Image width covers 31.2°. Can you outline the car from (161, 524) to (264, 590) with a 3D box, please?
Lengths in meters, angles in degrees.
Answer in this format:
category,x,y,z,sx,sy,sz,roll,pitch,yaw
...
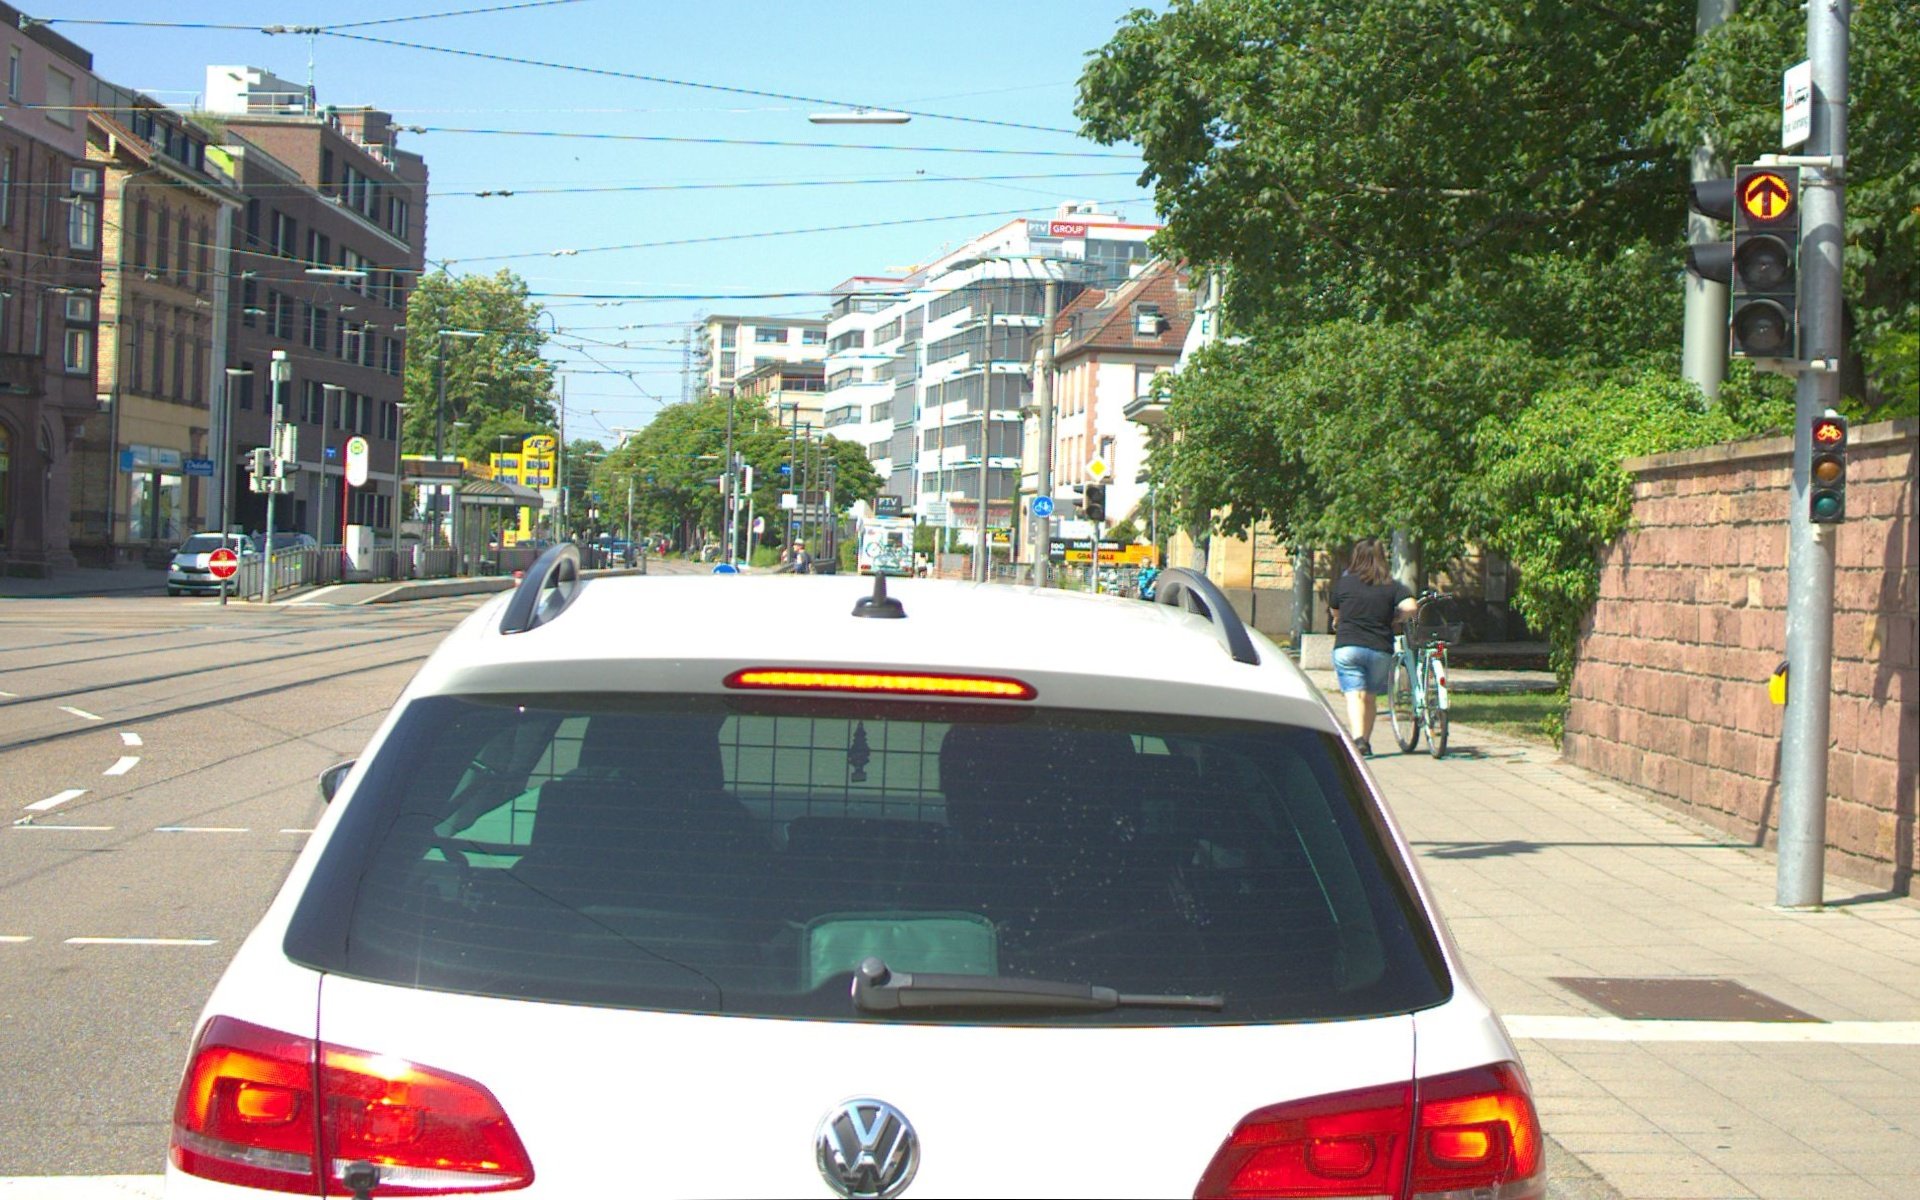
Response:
category,x,y,z,sx,sy,sz,roll,pitch,yaw
car,-17.413,-1.002,80.267,1.625,1.426,3.963,3,1,-2

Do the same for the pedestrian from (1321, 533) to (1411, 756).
category,x,y,z,sx,sy,sz,roll,pitch,yaw
pedestrian,2.851,0.304,24.189,0.540,1.543,0.663,0,1,-1

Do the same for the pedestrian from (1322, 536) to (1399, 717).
category,x,y,z,sx,sy,sz,roll,pitch,yaw
pedestrian,3.804,0.246,32.703,0.650,1.676,0.707,2,1,6

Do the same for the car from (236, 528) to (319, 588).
category,x,y,z,sx,sy,sz,roll,pitch,yaw
car,-17.467,-1.084,88.121,1.572,1.454,3.815,2,1,-4

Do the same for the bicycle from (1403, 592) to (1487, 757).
category,x,y,z,sx,sy,sz,roll,pitch,yaw
bicycle,3.432,0.502,24.269,0.536,1.107,1.806,1,0,9

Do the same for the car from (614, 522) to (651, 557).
category,x,y,z,sx,sy,sz,roll,pitch,yaw
car,-19.507,-3.587,204.863,1.993,2.007,4.000,1,1,-2

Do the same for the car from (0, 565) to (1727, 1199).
category,x,y,z,sx,sy,sz,roll,pitch,yaw
car,-0.148,0.694,5.388,1.752,1.413,3.853,2,1,-1

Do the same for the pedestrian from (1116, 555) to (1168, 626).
category,x,y,z,sx,sy,sz,roll,pitch,yaw
pedestrian,3.960,-0.209,74.845,0.857,1.505,0.780,2,1,26

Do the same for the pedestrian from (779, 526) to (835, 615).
category,x,y,z,sx,sy,sz,roll,pitch,yaw
pedestrian,-3.165,-0.616,71.118,0.832,1.803,0.828,2,1,23

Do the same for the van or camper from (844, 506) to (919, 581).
category,x,y,z,sx,sy,sz,roll,pitch,yaw
van or camper,-3.566,-2.554,154.990,2.943,3.169,6.614,2,1,-4
